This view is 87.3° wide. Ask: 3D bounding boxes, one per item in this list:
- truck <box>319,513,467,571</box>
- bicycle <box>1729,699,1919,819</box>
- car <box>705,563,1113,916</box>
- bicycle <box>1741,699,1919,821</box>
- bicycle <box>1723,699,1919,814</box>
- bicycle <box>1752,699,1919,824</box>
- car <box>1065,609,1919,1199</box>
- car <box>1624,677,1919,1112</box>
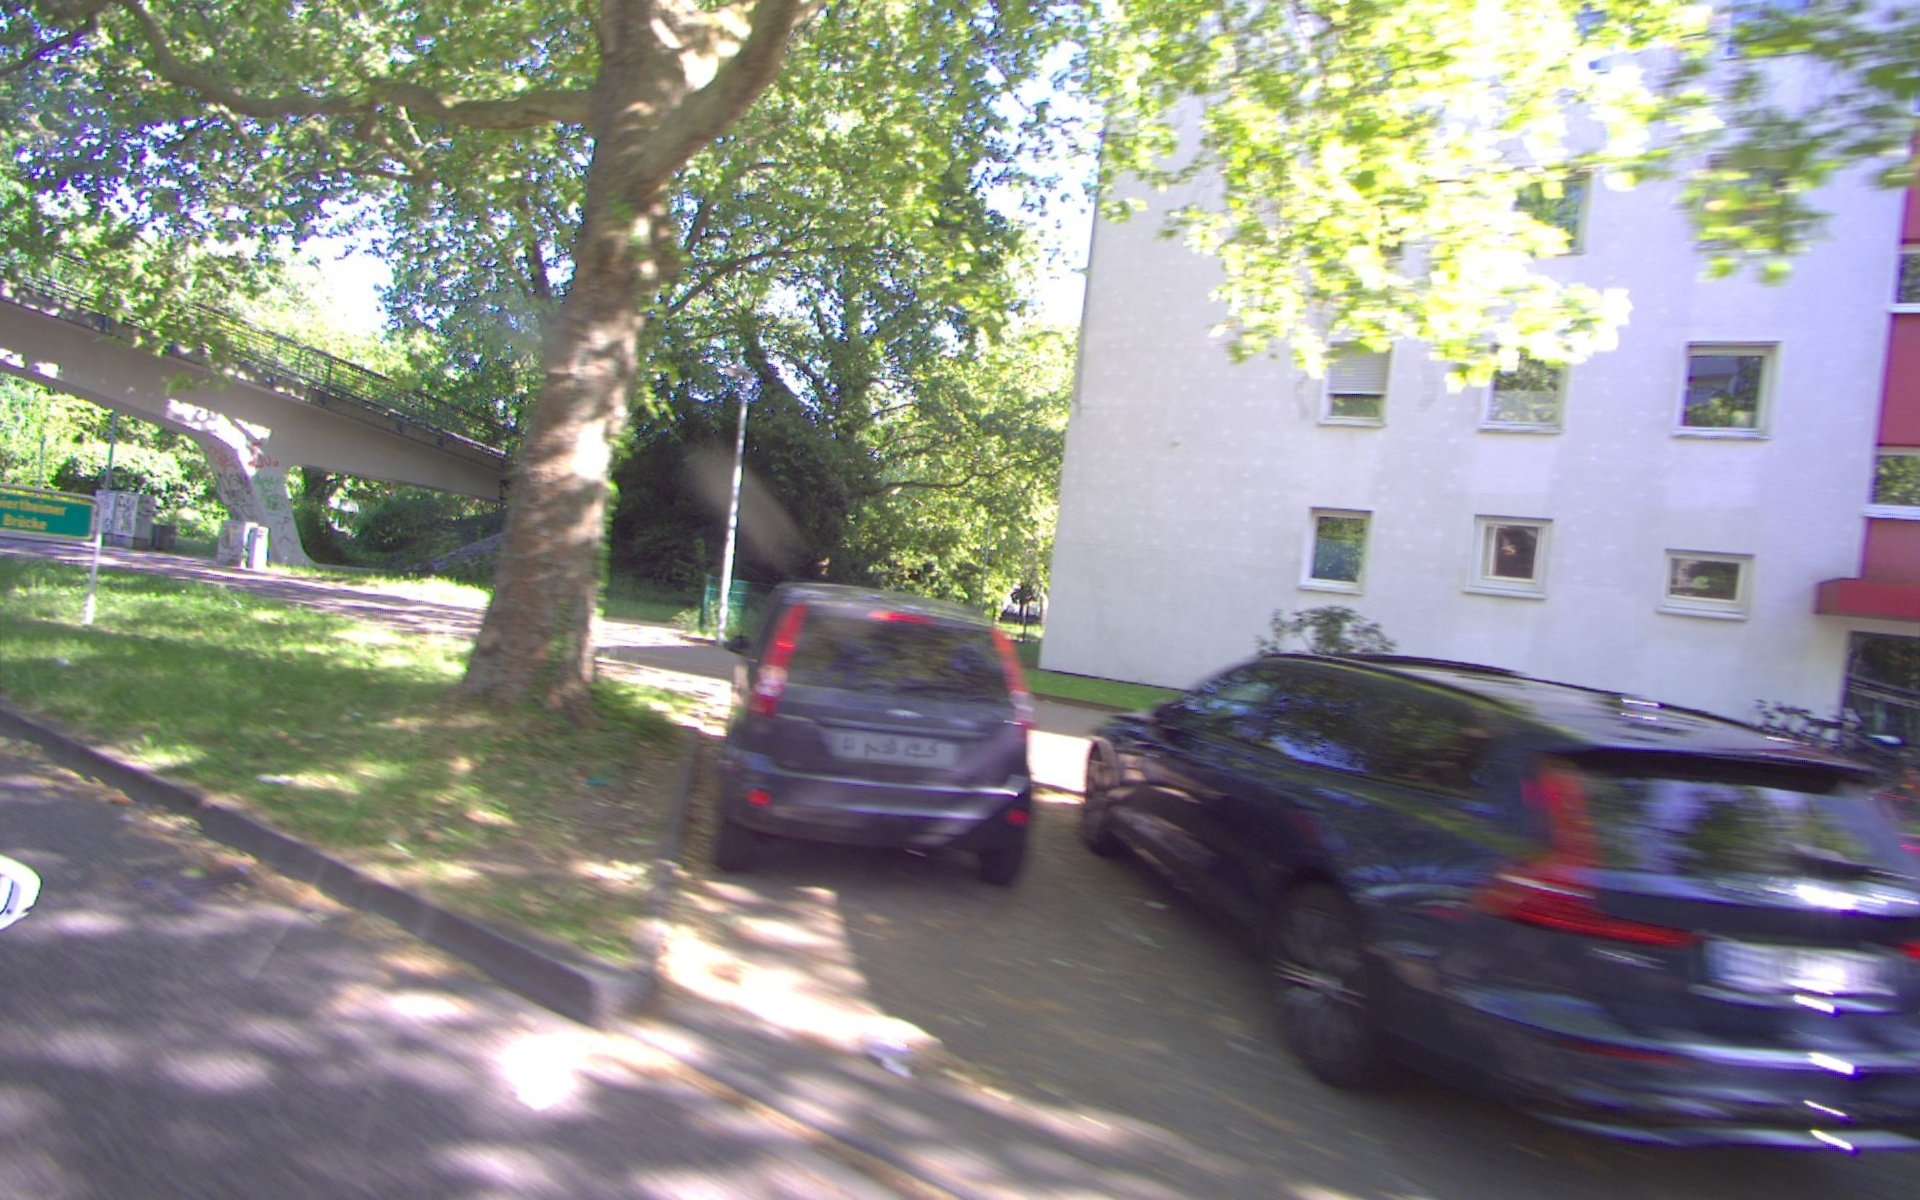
[{"bbox_3d":[-29.153,-2.917,52.057,2.081,2.119,6.645,7,-1,24],"label":"truck"},{"bbox_3d":[10.626,1.908,12.306,1.770,1.121,0.591,7,0,31],"label":"bicycle"},{"bbox_3d":[-0.640,0.614,6.571,1.771,1.481,3.987,6,2,-13],"label":"car"},{"bbox_3d":[10.320,1.852,11.710,1.770,1.121,0.591,7,0,31],"label":"bicycle"},{"bbox_3d":[11.041,1.972,12.948,1.770,1.121,0.591,7,0,31],"label":"bicycle"},{"bbox_3d":[9.979,1.789,11.099,1.770,1.121,0.591,7,0,31],"label":"bicycle"},{"bbox_3d":[1.972,0.971,4.787,1.769,1.481,4.247,6,1,-9],"label":"car"},{"bbox_3d":[4.637,1.298,3.133,1.769,1.481,4.247,6,1,-9],"label":"car"}]
